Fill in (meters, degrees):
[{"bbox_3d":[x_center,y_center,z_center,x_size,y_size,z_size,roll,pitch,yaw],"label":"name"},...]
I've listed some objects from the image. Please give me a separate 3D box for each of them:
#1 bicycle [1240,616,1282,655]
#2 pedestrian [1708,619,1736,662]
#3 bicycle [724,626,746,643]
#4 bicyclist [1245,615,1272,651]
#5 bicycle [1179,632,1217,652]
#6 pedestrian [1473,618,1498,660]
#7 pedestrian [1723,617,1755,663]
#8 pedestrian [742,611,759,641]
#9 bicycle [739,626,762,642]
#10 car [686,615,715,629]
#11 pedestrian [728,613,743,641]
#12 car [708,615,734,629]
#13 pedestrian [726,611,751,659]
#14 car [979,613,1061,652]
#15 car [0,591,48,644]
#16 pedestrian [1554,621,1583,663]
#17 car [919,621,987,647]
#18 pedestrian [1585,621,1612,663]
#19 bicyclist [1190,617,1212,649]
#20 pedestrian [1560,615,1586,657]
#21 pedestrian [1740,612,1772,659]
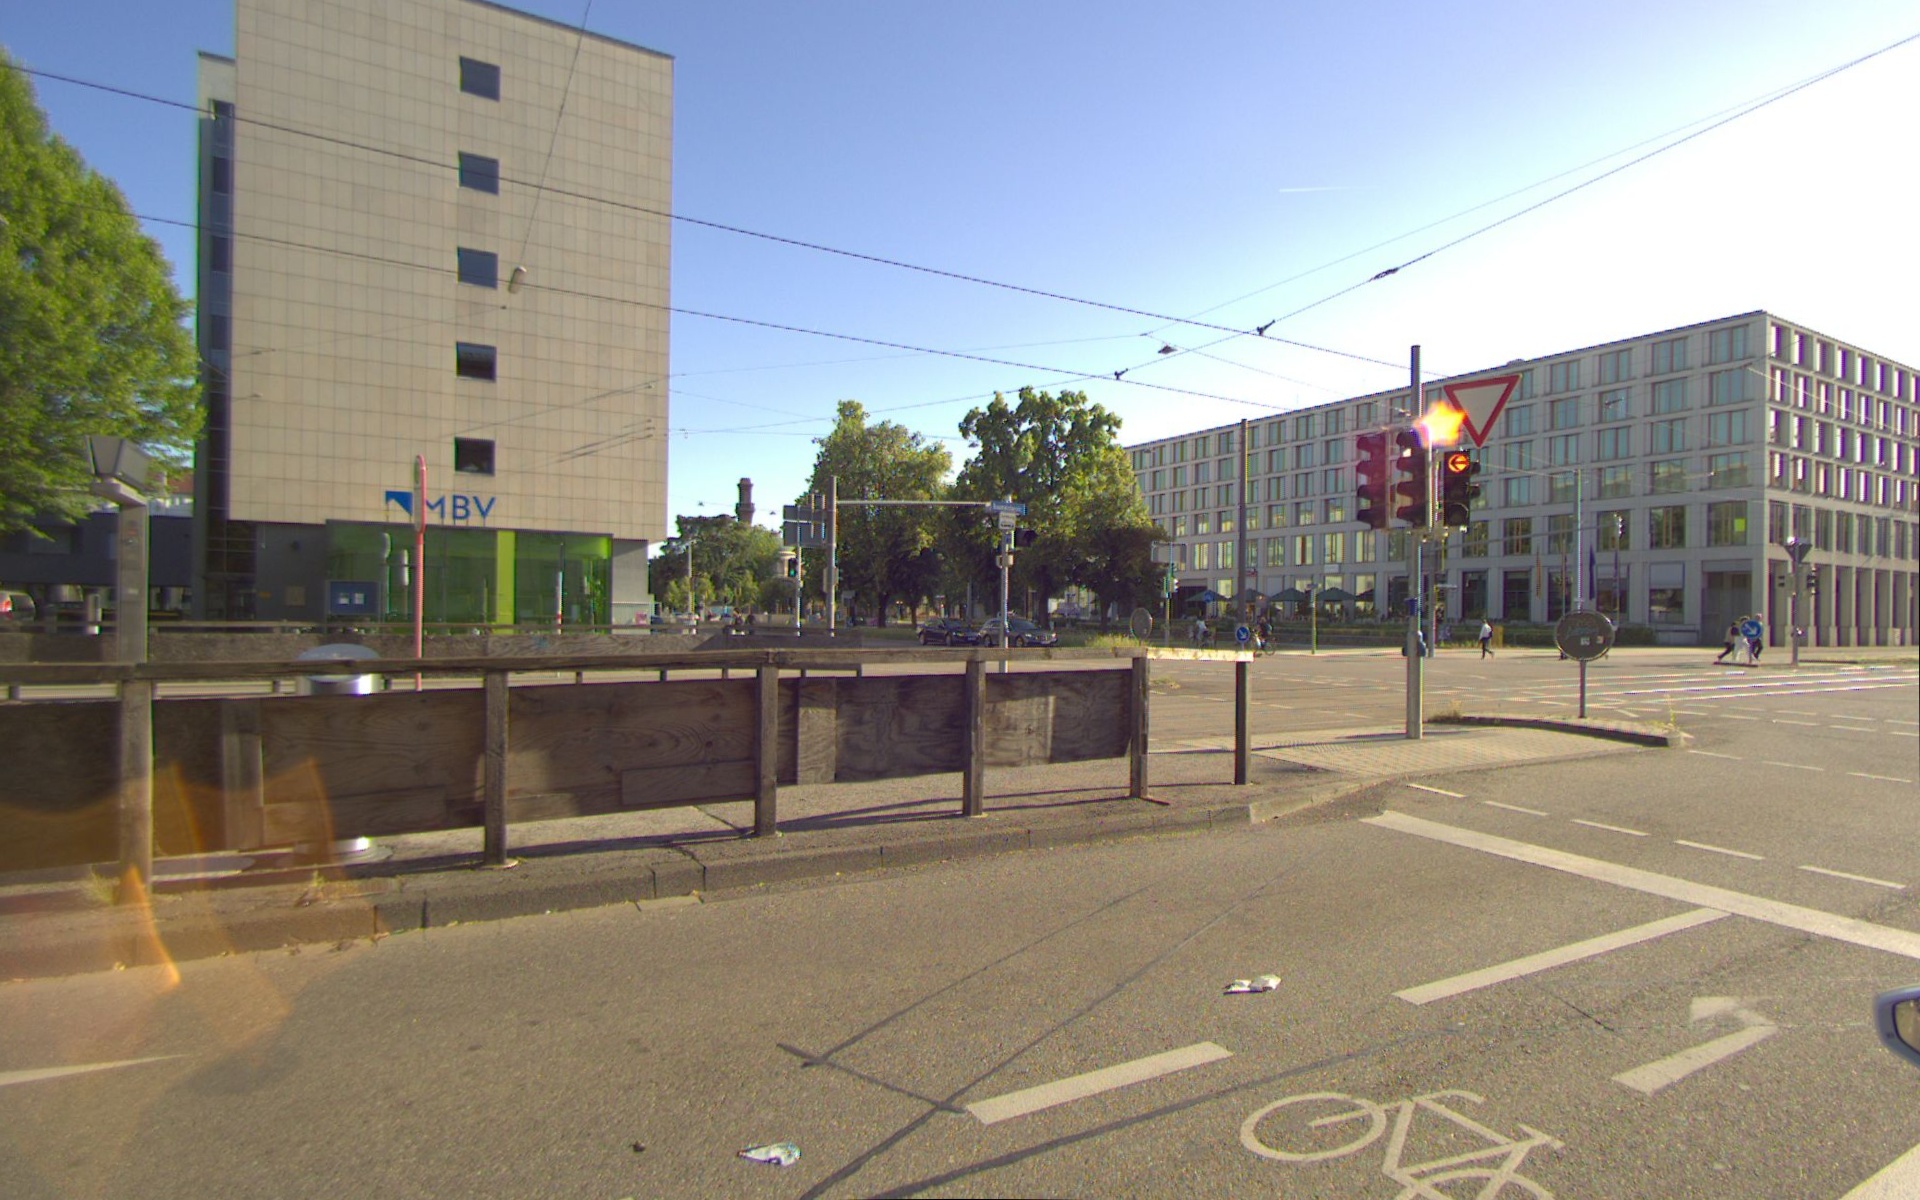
[{"bbox_3d":[14.050,1.645,46.918,0.592,1.758,1.880,1,-1,-42],"label":"bicycle"},{"bbox_3d":[29.761,1.578,39.240,0.614,1.666,0.691,1,-1,-29],"label":"pedestrian"},{"bbox_3d":[-14.077,2.152,62.780,0.669,0.973,2.131,1,-1,-32],"label":"bicycle"},{"bbox_3d":[13.983,1.536,46.995,0.593,1.662,1.065,1,-1,-42],"label":"bicyclist"},{"bbox_3d":[11.964,2.103,50.488,0.568,0.945,2.053,1,-1,-32],"label":"bicycle"},{"bbox_3d":[24.498,1.802,46.817,0.628,1.943,0.800,1,-1,-24],"label":"pedestrian"},{"bbox_3d":[28.707,1.471,37.026,0.615,1.666,0.787,1,-1,-34],"label":"pedestrian"},{"bbox_3d":[-13.241,1.640,63.532,0.818,1.829,0.754,1,-1,-31],"label":"pedestrian"},{"bbox_3d":[-13.269,2.144,63.562,0.818,0.973,2.132,1,-1,-31],"label":"bicycle"},{"bbox_3d":[-31.087,2.657,120.201,1.978,1.433,4.710,4,-2,-31],"label":"car"},{"bbox_3d":[-14.047,1.688,62.764,0.666,1.739,0.754,1,-1,-32],"label":"pedestrian"},{"bbox_3d":[-26.309,2.445,110.560,1.614,1.452,4.021,3,-2,-31],"label":"car"},{"bbox_3d":[-8.032,1.260,36.416,0.814,1.739,0.757,1,-1,-18],"label":"pedestrian"},{"bbox_3d":[2.794,1.522,47.878,1.829,1.602,4.496,1,1,-28],"label":"car"},{"bbox_3d":[-27.745,0.449,27.745,3.371,1.431,1.562,2,0,-20],"label":"car"},{"bbox_3d":[26.568,1.827,43.889,0.654,1.827,0.868,1,-1,-24],"label":"pedestrian"},{"bbox_3d":[-0.419,1.778,53.410,1.755,1.311,4.209,1,-1,-30],"label":"car"},{"bbox_3d":[27.843,1.816,43.810,0.525,1.827,0.867,1,-1,-24],"label":"pedestrian"},{"bbox_3d":[12.080,1.634,50.319,0.568,1.581,0.969,1,-1,-33],"label":"bicyclist"},{"bbox_3d":[27.445,1.606,44.971,0.706,1.827,0.737,1,-1,-24],"label":"pedestrian"},{"bbox_3d":[30.954,1.388,39.060,0.668,1.784,0.746,2,-2,-25],"label":"pedestrian"}]
